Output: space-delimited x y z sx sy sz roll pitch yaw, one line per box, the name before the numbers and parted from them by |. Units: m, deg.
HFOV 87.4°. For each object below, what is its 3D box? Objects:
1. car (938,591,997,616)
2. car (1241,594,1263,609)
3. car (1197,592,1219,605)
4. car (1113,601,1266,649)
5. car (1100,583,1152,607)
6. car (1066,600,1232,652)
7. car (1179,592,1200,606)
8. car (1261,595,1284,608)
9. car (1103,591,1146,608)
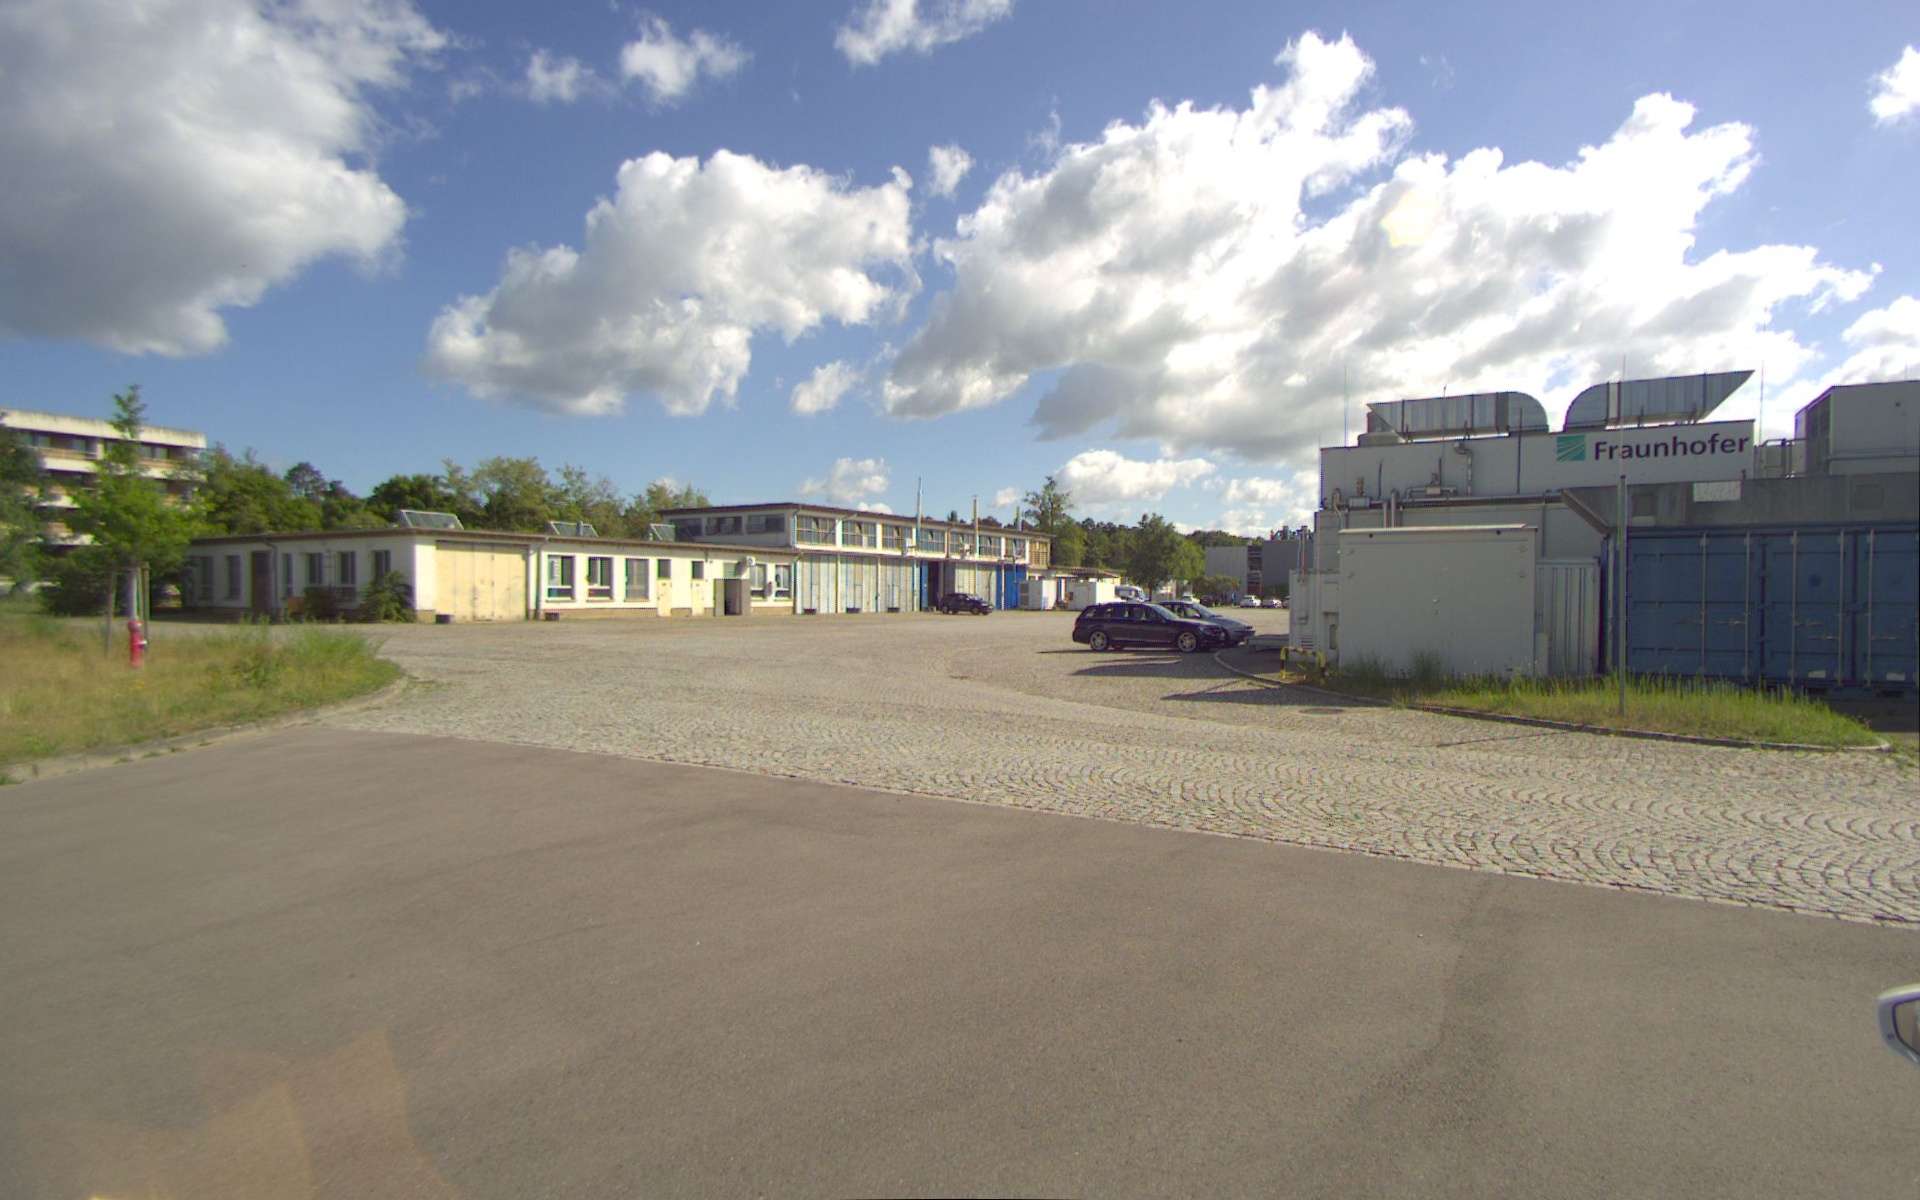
car | 0.548 0.239 76.054 4.100 1.688 1.780 2 1 29
car | 36.204 0.180 124.483 1.849 1.712 4.029 -2 -1 28
car | 31.376 -0.151 127.116 1.848 1.557 4.031 -2 -1 26
car | 7.433 0.787 32.616 4.465 1.462 1.900 0 -1 31
car | 17.818 -0.525 108.028 5.188 2.474 2.043 1 1 35
car | 5.600 0.745 29.927 4.465 1.462 1.983 0 -1 31
car | 29.366 -0.151 128.471 1.818 1.690 4.129 -2 -1 26
car | 38.294 0.188 123.041 1.849 1.557 4.029 -2 -1 28
car | 17.170 -0.063 104.994 4.055 1.652 1.802 1 1 35
